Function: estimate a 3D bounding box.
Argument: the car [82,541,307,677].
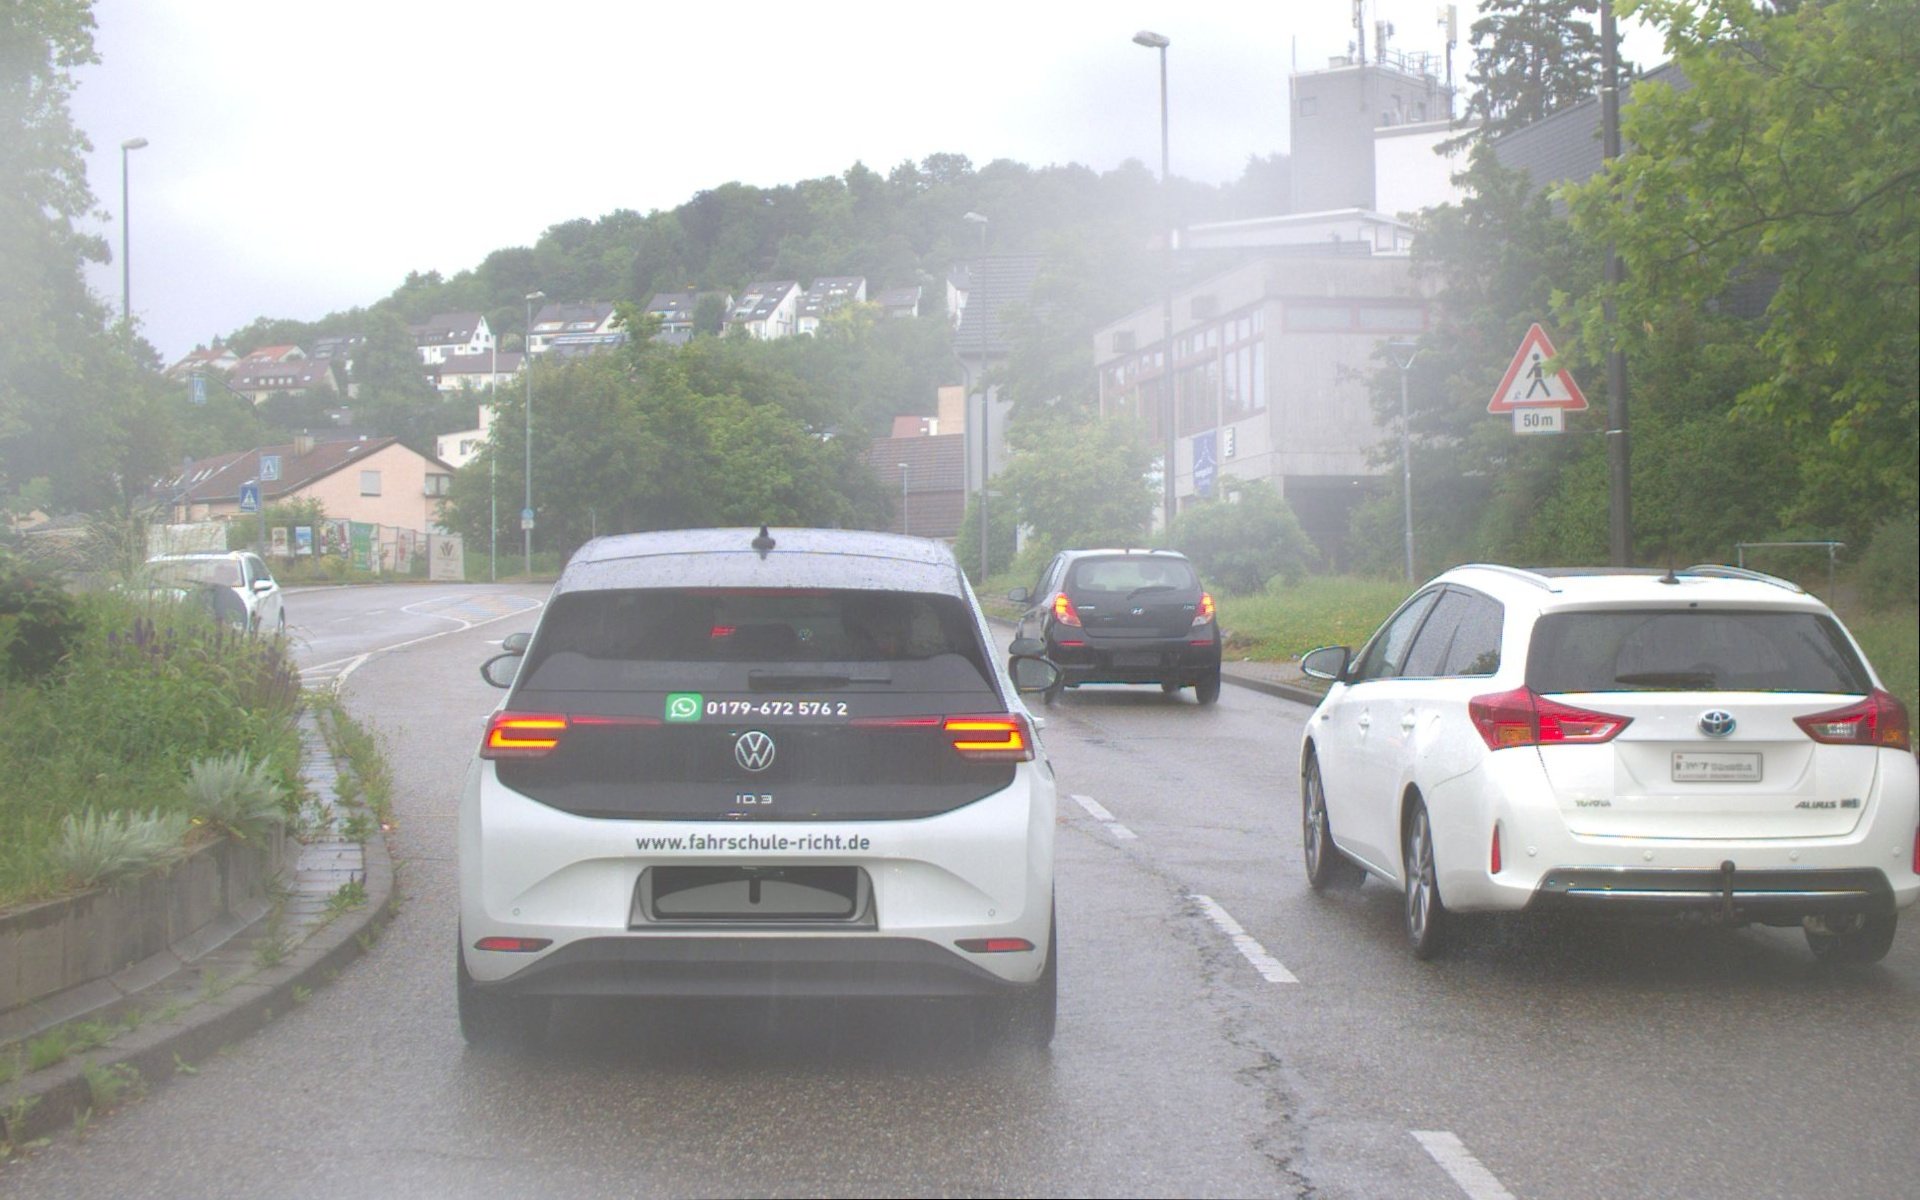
[{"bbox_3d":[-9.934,0.086,44.968,1.993,1.656,4.598,-1,1,-1],"label":"car"}]

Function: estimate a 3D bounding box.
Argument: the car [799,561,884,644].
[{"bbox_3d":[-2.951,0.057,86.447,1.993,2.007,4.000,1,0,-1],"label":"car"}]

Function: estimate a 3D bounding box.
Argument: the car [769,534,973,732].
[{"bbox_3d":[-0.795,0.213,28.552,1.567,1.525,4.001,0,1,-3],"label":"car"}]

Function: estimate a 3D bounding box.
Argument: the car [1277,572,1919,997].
[{"bbox_3d":[2.462,0.613,13.547,1.848,1.405,4.302,0,0,-2],"label":"car"}]

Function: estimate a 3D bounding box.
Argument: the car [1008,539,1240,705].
[{"bbox_3d":[1.541,0.201,33.615,1.993,1.448,3.771,-2,0,-1],"label":"car"}]

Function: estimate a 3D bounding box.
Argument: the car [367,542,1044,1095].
[{"bbox_3d":[-0.710,0.591,11.410,1.828,1.495,4.168,0,0,-1],"label":"car"}]

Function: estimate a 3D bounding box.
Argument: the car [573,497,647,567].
[{"bbox_3d":[-10.662,-2.042,104.865,1.993,2.007,4.000,1,0,-3],"label":"car"}]
